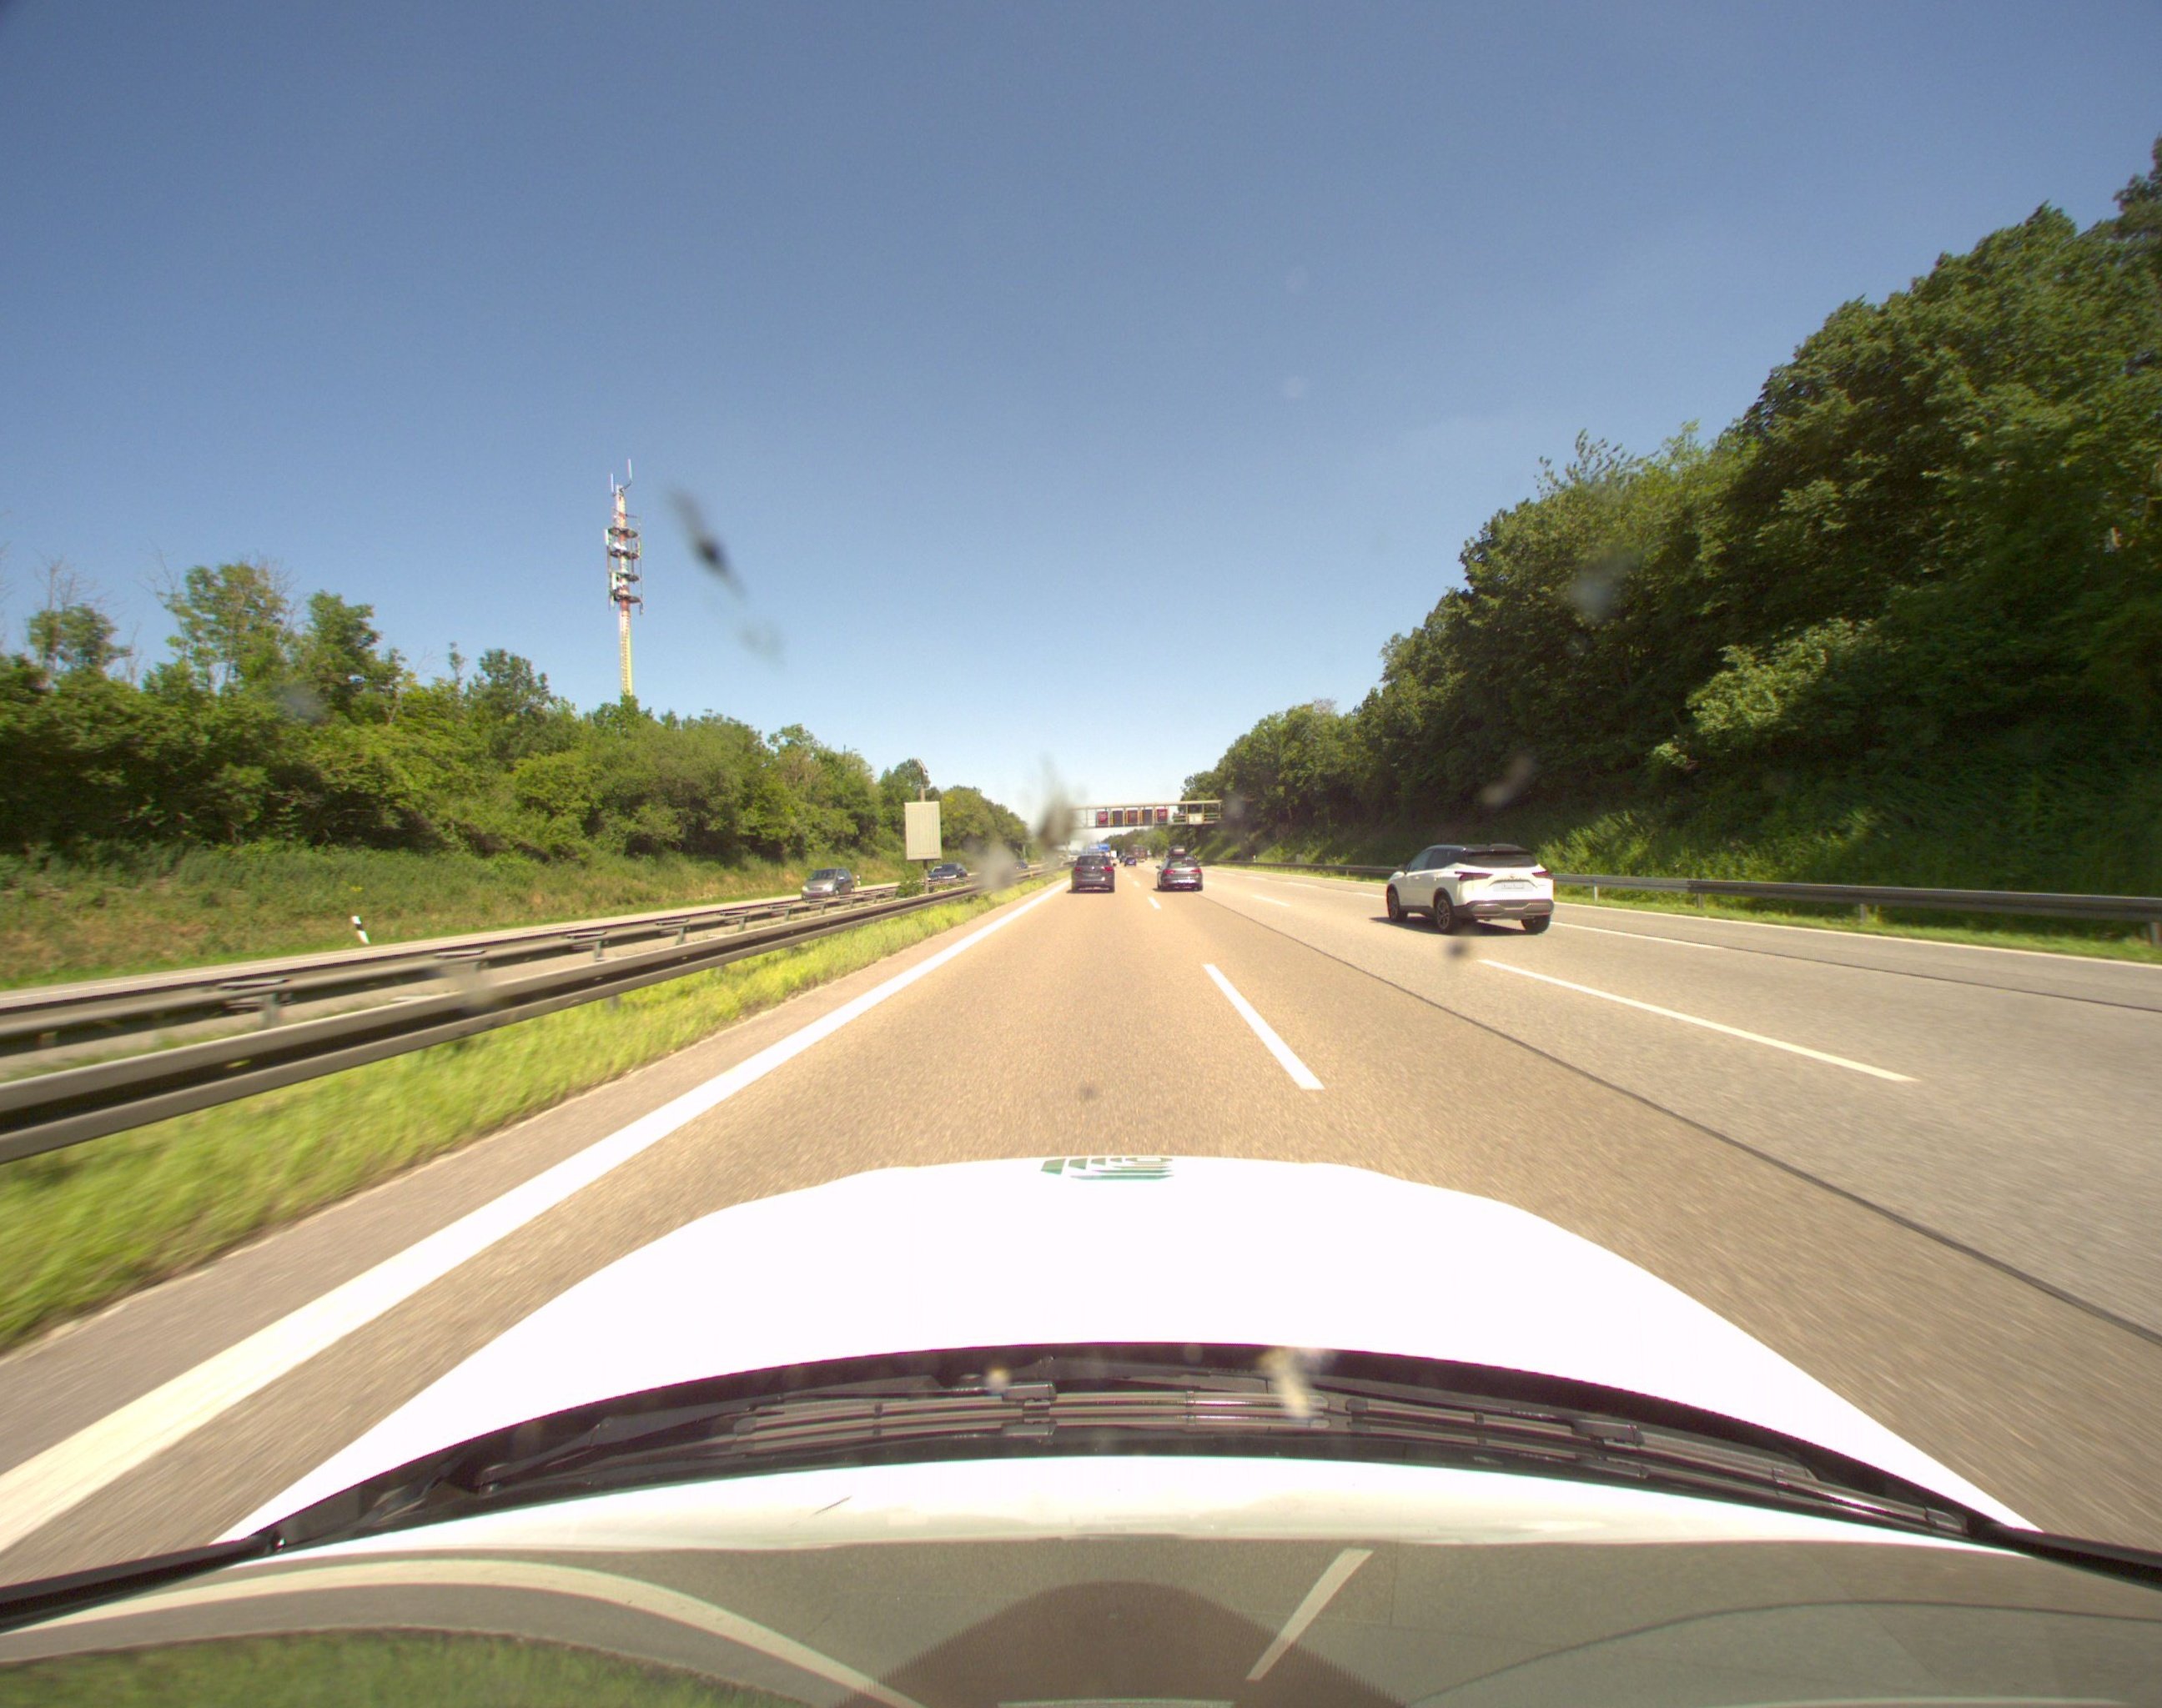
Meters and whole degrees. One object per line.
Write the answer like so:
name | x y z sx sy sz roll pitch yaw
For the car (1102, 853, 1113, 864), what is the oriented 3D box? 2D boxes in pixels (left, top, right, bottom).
car | 4.887 0.863 151.625 1.986 2.013 4.002 0 0 2

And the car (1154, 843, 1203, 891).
car | 4.195 0.527 35.509 1.658 1.876 4.830 -3 0 2

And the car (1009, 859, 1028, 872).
car | -7.262 1.332 95.187 1.707 1.398 4.151 -3 0 2

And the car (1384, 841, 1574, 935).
car | 7.467 0.578 15.760 1.836 1.568 4.037 0 0 2

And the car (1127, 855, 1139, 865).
car | 7.647 0.914 120.408 1.757 1.381 4.262 0 0 4

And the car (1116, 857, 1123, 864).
car | 8.102 1.353 171.388 1.466 1.398 3.411 1 0 1

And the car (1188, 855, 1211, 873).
car | 10.911 0.933 75.119 1.757 1.568 4.262 0 0 4

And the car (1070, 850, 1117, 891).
car | 0.602 0.674 35.032 1.791 1.669 4.262 0 0 4

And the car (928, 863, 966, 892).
car | -7.640 1.316 46.571 1.428 1.528 3.459 -2 0 2

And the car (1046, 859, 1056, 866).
car | -5.473 1.501 147.281 1.474 1.210 3.459 -2 0 2

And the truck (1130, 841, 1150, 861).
truck | 13.835 -0.646 191.051 3.767 4.422 14.052 -1 0 1

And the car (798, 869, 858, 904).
car | -12.397 1.557 40.089 1.668 1.496 3.546 -2 0 2
